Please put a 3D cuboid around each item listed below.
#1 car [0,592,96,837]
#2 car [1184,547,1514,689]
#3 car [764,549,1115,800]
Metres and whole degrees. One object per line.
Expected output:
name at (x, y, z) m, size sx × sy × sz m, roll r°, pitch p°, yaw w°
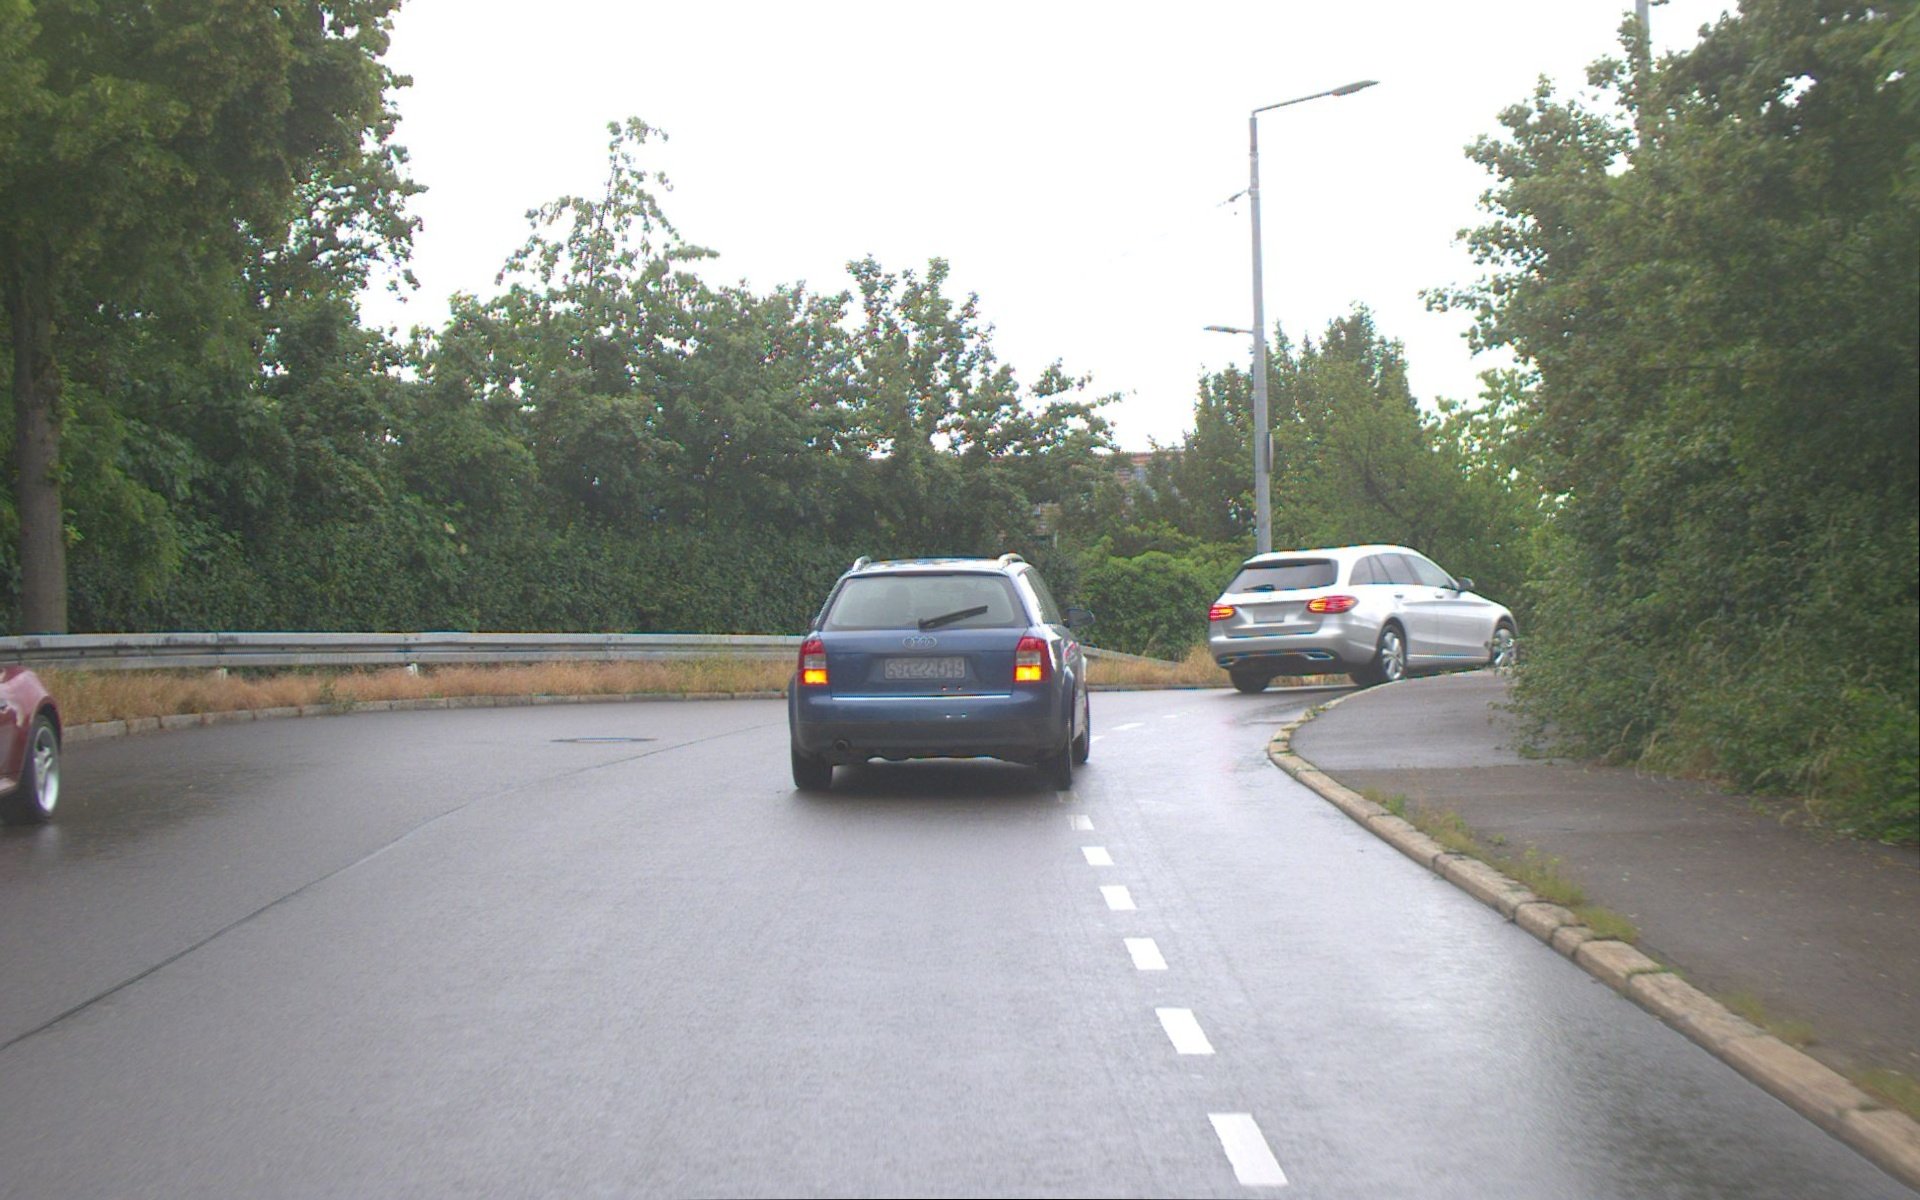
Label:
car at (-6.062, 0.647, 18.050) m, size 1.789 × 1.292 × 4.325 m, roll -1°, pitch 1°, yaw 2°
car at (4.123, 0.161, 35.952) m, size 1.894 × 1.384 × 3.993 m, roll -1°, pitch 0°, yaw 32°
car at (-0.038, 0.407, 22.258) m, size 1.747 × 1.402 × 3.999 m, roll 0°, pitch 2°, yaw 7°
